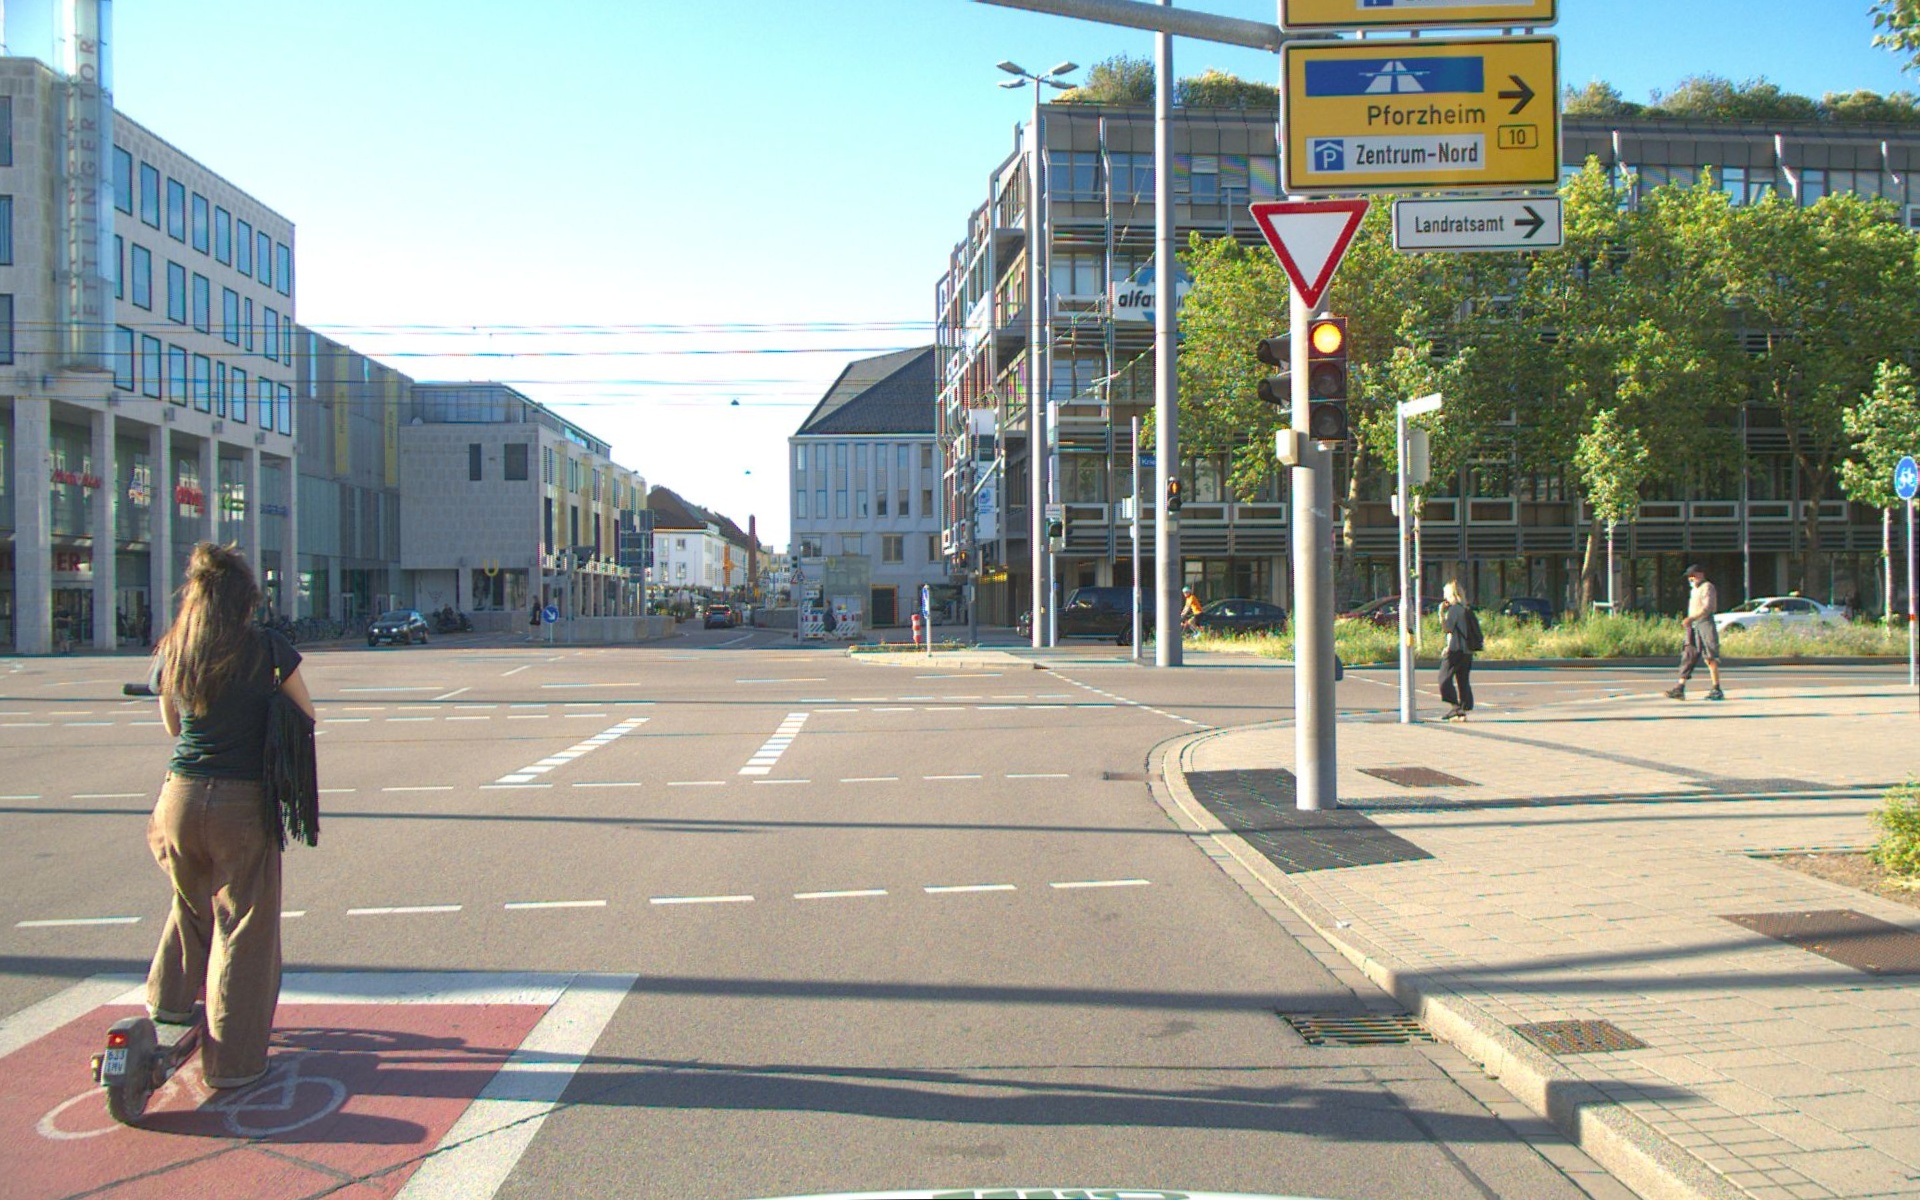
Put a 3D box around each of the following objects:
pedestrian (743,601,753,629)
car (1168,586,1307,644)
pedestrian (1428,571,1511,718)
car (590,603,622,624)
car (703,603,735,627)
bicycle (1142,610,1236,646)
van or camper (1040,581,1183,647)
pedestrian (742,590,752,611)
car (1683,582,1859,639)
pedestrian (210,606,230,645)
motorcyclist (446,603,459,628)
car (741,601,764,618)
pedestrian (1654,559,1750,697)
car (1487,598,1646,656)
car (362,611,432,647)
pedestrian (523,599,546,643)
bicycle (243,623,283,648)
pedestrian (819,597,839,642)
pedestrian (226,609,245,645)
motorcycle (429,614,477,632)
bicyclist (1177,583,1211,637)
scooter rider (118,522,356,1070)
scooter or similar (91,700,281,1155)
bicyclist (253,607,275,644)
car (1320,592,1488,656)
[{"bbox_3d":[-12.565,0.887,97.904,0.481,1.693,0.529,1,-1,-15],"label":"pedestrian"},{"bbox_3d":[8.430,0.451,50.513,3.907,1.713,1.761,-1,0,-2],"label":"car"},{"bbox_3d":[5.854,0.500,18.992,0.853,1.642,0.768,-1,0,21],"label":"pedestrian"},{"bbox_3d":[-26.063,0.965,121.749,1.625,1.484,3.541,-1,0,-1],"label":"car"},{"bbox_3d":[-15.695,0.963,107.818,1.625,1.484,3.541,-1,0,-1],"label":"car"},{"bbox_3d":[6.519,0.798,47.195,2.517,0.992,1.047,-1,0,-4],"label":"bicycle"},{"bbox_3d":[4.870,0.451,53.513,4.329,2.049,1.993,-1,0,-5],"label":"van or camper"},{"bbox_3d":[-21.144,0.050,164.356,0.892,1.999,0.822,1,-1,-1],"label":"pedestrian"},{"bbox_3d":[25.708,0.320,52.482,4.749,1.713,1.824,-1,0,-4],"label":"car"},{"bbox_3d":[-32.519,1.115,72.677,0.580,1.674,0.629,-1,0,-1],"label":"pedestrian"},{"bbox_3d":[-30.045,0.920,97.943,0.616,1.430,0.661,1,-1,-9],"label":"motorcyclist"},{"bbox_3d":[-18.312,0.844,145.783,1.625,1.484,3.541,-1,0,-1],"label":"car"},{"bbox_3d":[9.540,0.352,21.290,0.854,1.736,0.768,-1,0,-3],"label":"pedestrian"},{"bbox_3d":[18.950,0.830,51.813,4.317,1.713,1.824,-1,0,-4],"label":"car"},{"bbox_3d":[-23.589,1.199,69.445,1.642,1.381,4.019,-1,0,-2],"label":"car"},{"bbox_3d":[-16.332,0.810,63.440,0.762,1.667,0.625,-1,0,-7],"label":"pedestrian"},{"bbox_3d":[-27.741,1.413,65.825,0.622,0.919,2.218,-1,0,0],"label":"bicycle"},{"bbox_3d":[-5.077,0.744,64.126,0.685,1.718,0.619,-1,0,0],"label":"pedestrian"},{"bbox_3d":[-35.659,1.313,81.391,0.462,1.759,0.692,0,-1,37],"label":"pedestrian"},{"bbox_3d":[-29.932,1.382,97.690,2.555,1.010,1.113,1,0,-10],"label":"motorcycle"},{"bbox_3d":[6.675,0.279,47.215,0.806,1.500,0.652,-1,0,-5],"label":"bicyclist"},{"bbox_3d":[-2.154,0.555,4.973,0.542,1.556,0.448,-1,0,-9],"label":"scooter rider"},{"bbox_3d":[-2.196,0.878,4.745,0.301,1.127,0.836,-1,0,-12],"label":"scooter or similar"},{"bbox_3d":[-27.748,1.005,65.928,0.613,1.473,0.589,-1,0,0],"label":"bicyclist"},{"bbox_3d":[12.486,0.648,46.617,4.212,1.713,1.820,-1,0,-11],"label":"car"}]
